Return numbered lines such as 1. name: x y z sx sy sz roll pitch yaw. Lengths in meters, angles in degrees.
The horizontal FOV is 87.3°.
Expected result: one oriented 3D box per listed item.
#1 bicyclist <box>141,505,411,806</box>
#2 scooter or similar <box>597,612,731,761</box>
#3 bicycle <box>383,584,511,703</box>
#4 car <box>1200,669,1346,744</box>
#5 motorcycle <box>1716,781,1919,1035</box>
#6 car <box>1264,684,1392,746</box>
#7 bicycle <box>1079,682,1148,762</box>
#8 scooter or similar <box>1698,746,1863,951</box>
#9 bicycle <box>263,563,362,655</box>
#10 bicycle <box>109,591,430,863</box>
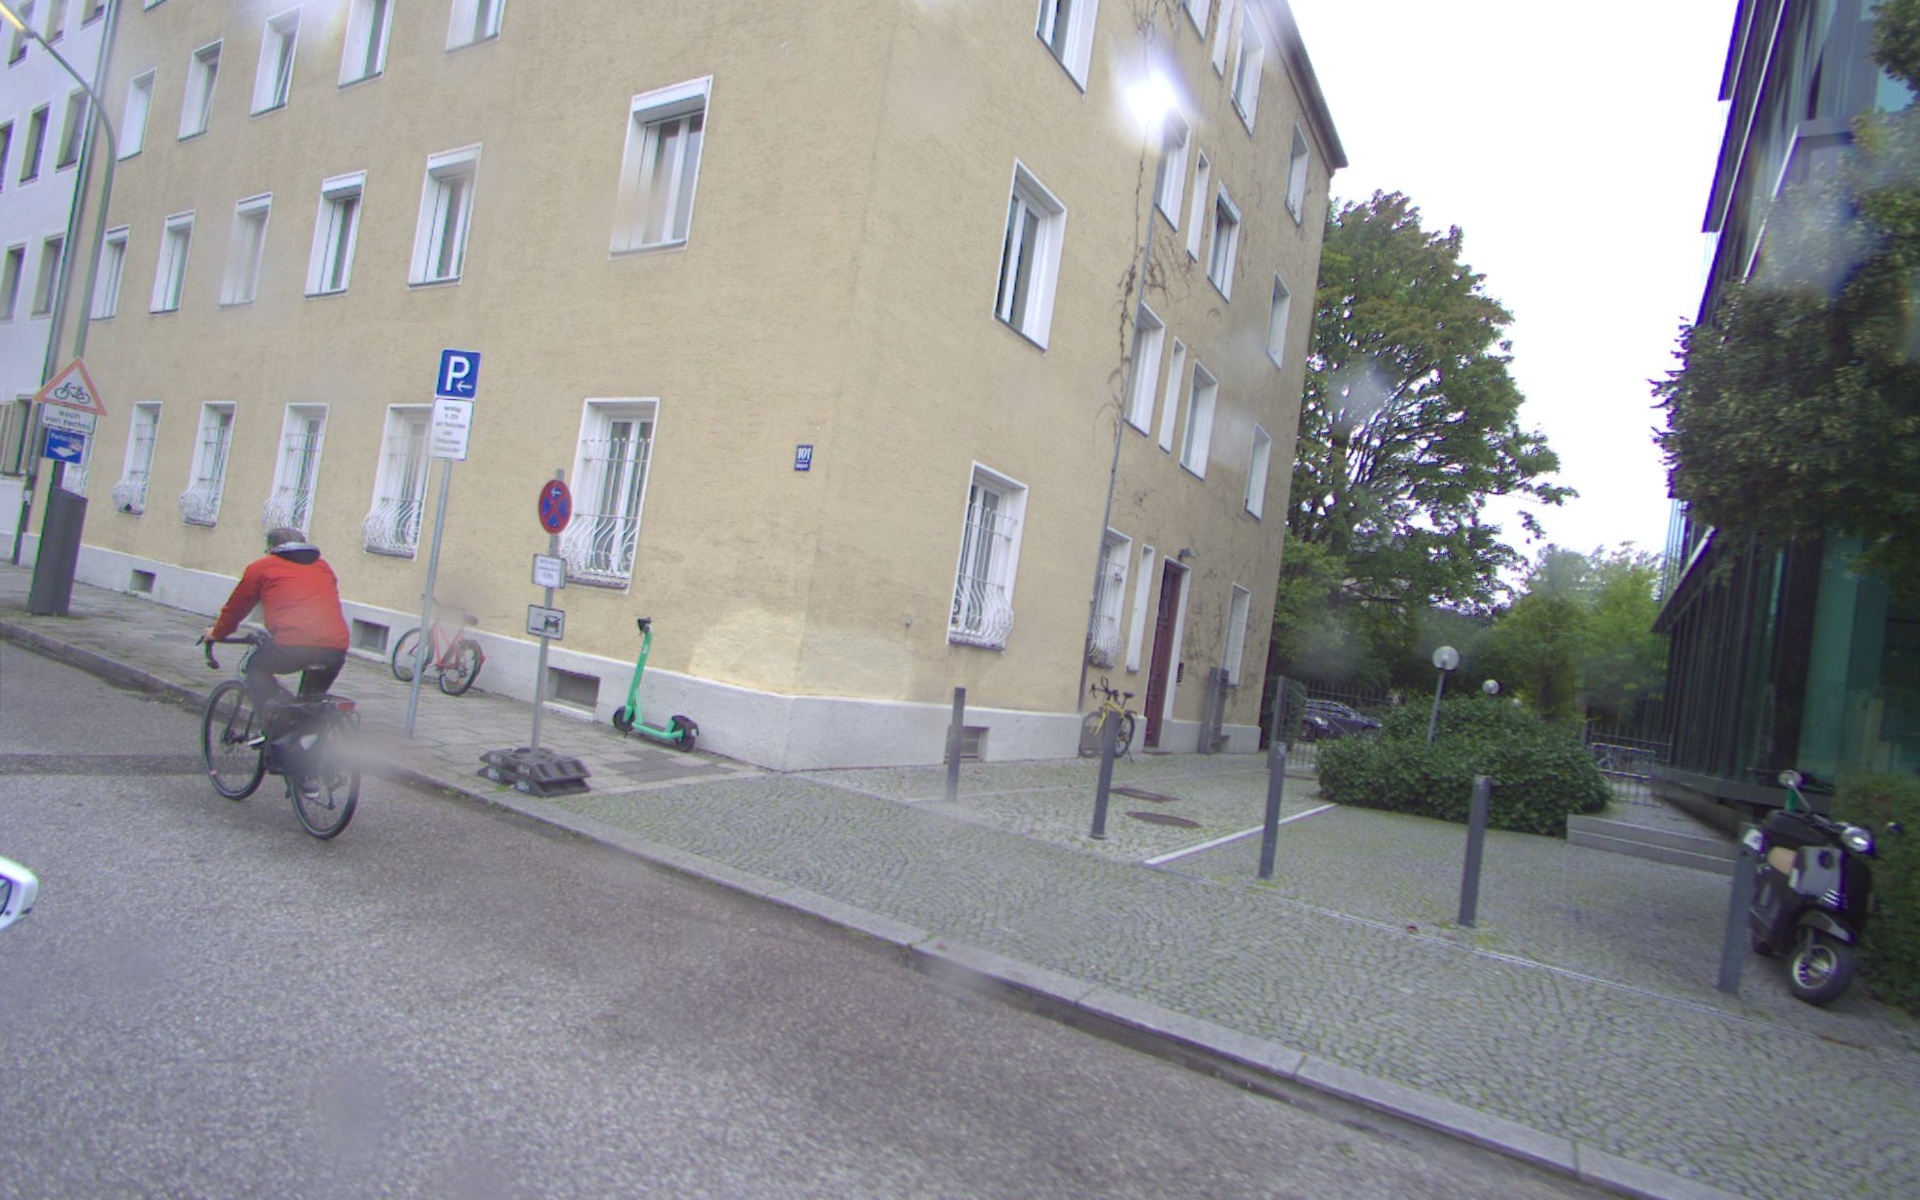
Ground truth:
1. bicyclist: -3.855 0.305 5.685 0.965 1.498 0.756 7 -3 34
2. scooter or similar: -2.917 0.827 9.876 1.287 1.271 0.342 7 0 31
3. bicycle: -6.059 0.493 11.844 1.730 1.148 0.343 7 -1 31
4. car: 10.100 3.428 32.496 3.935 1.723 1.999 7 -4 33
5. motorcycle: 5.558 1.891 6.588 0.697 1.146 1.896 7 0 32
6. car: 13.288 4.141 36.408 3.934 1.561 1.827 7 -2 32
7. bicycle: 2.365 1.868 15.326 0.372 1.104 1.702 7 -3 28
8. scooter or similar: 6.479 1.903 8.018 0.658 1.318 1.351 5 -1 27
9. bicycle: -9.097 0.114 14.113 1.783 1.095 0.342 7 1 31
10. bicycle: -3.960 0.656 5.710 1.979 1.153 0.674 7 -4 34
